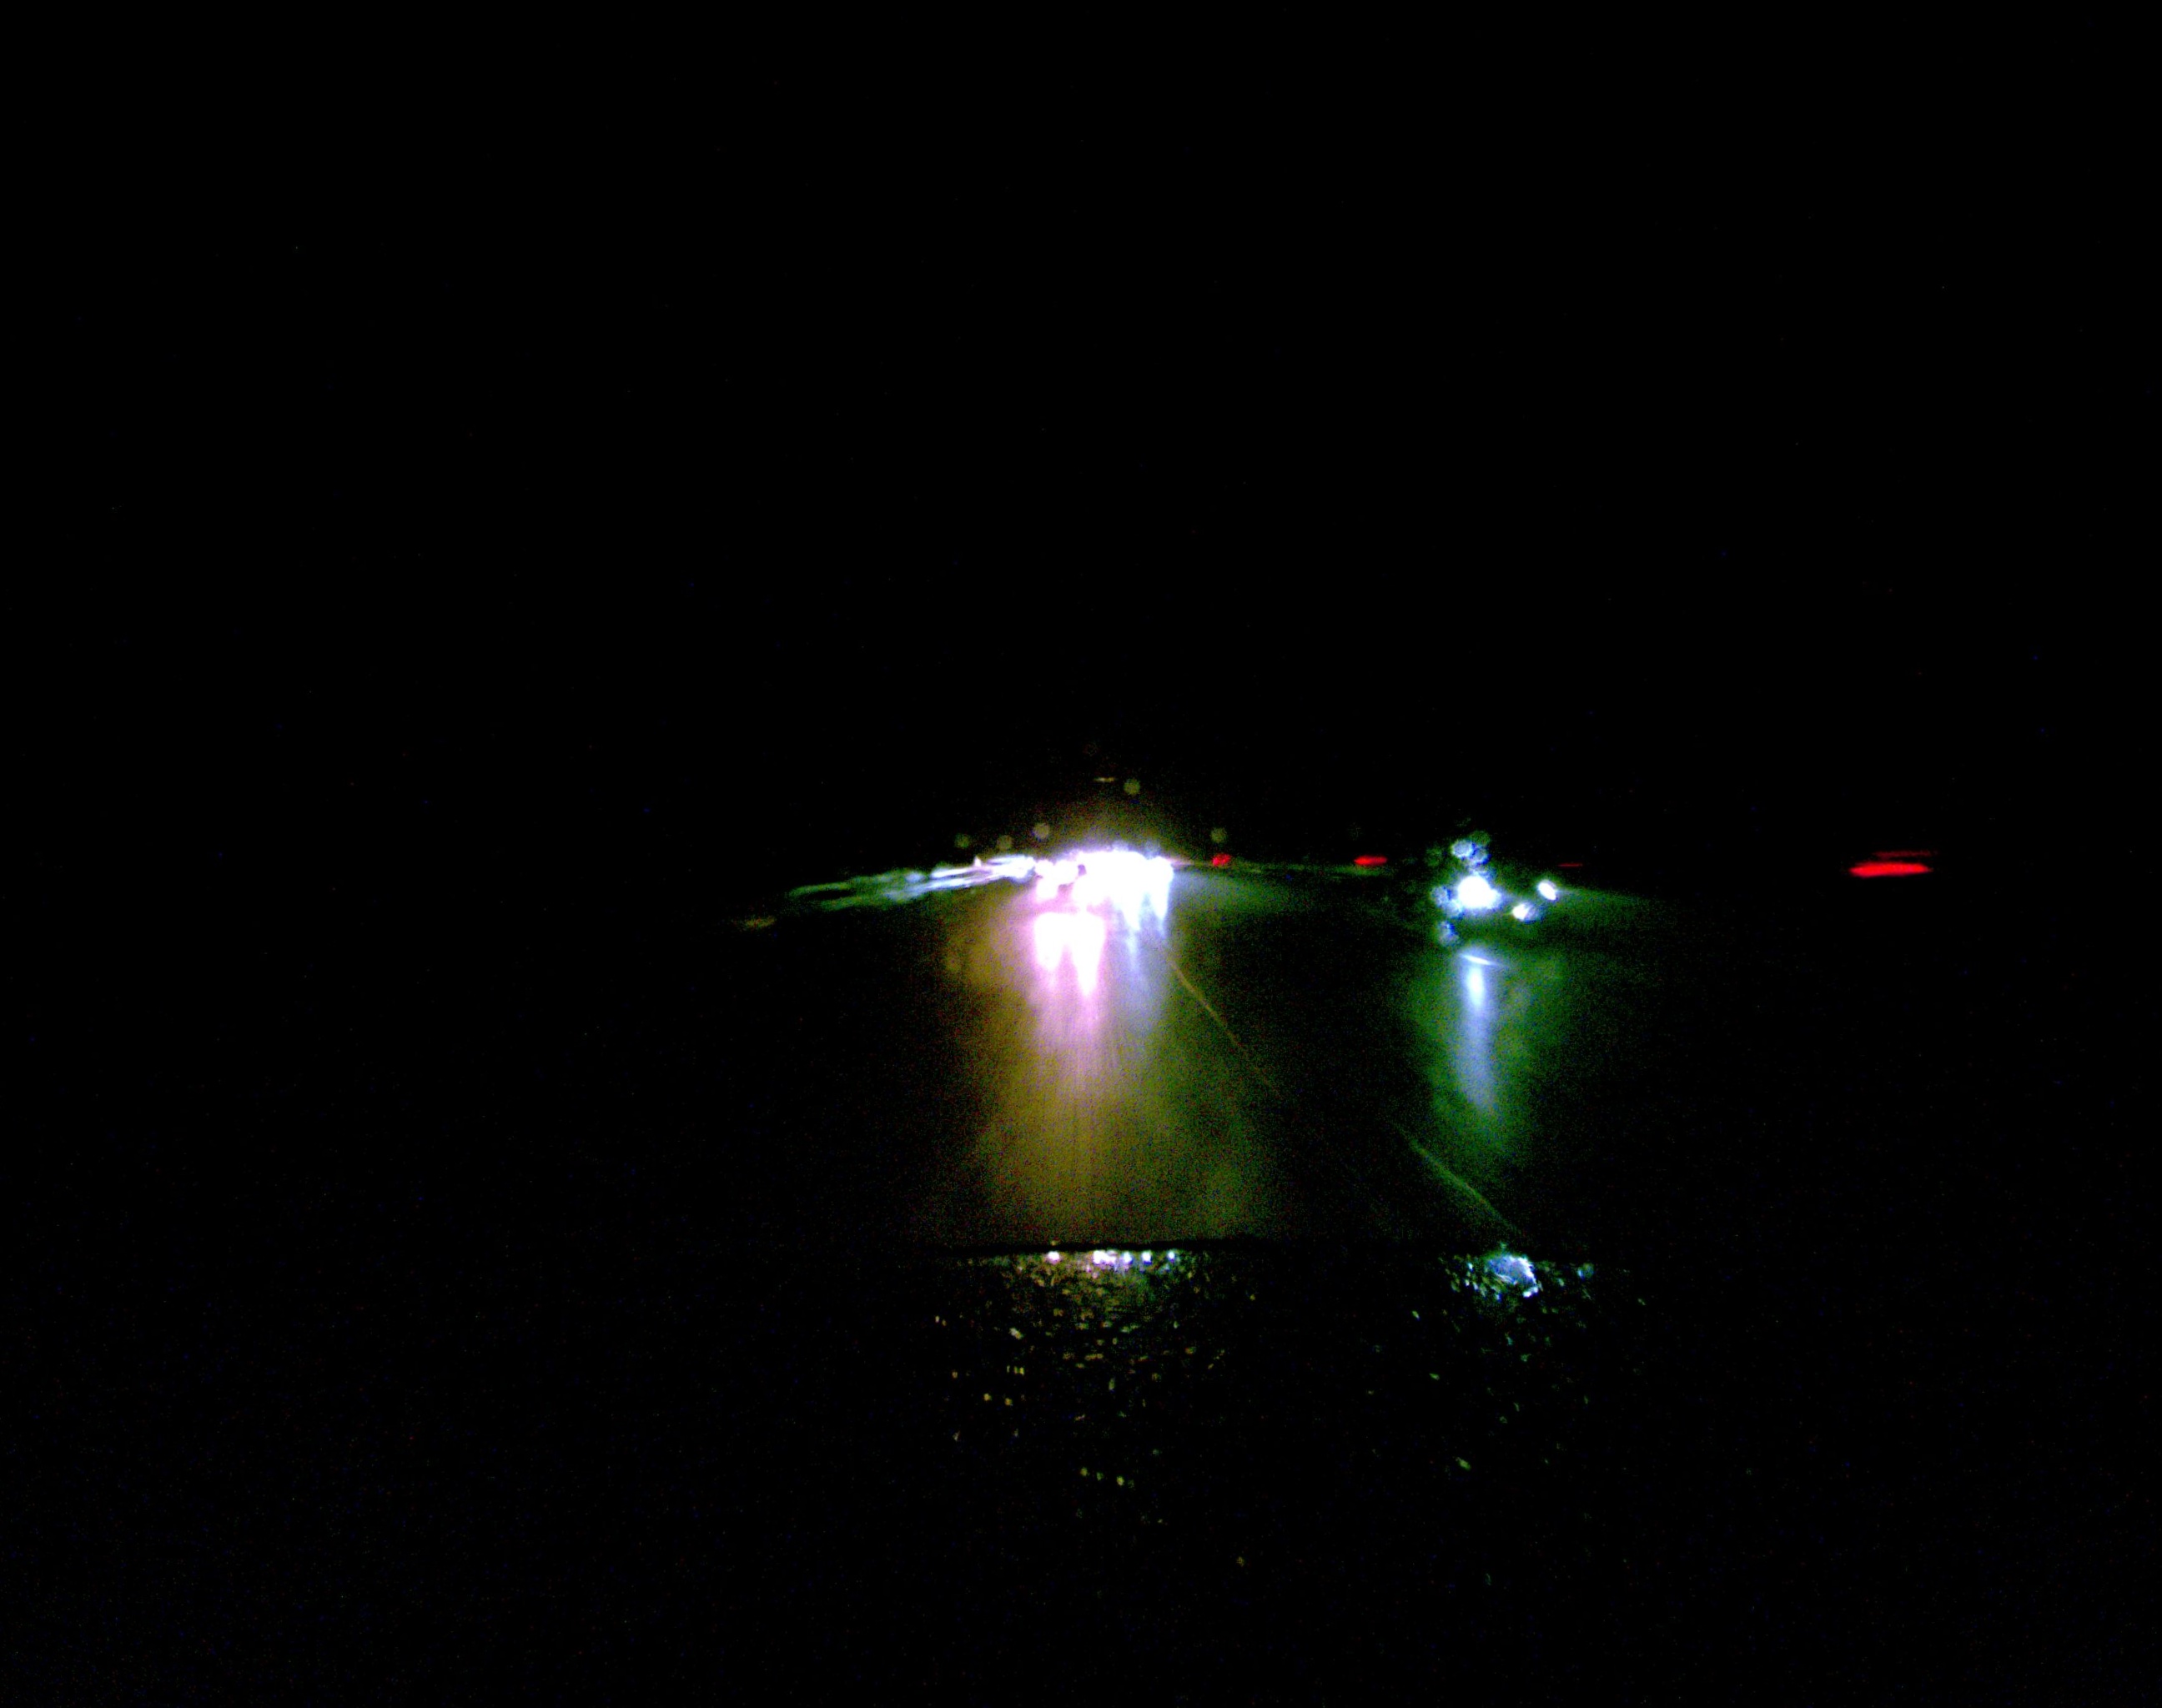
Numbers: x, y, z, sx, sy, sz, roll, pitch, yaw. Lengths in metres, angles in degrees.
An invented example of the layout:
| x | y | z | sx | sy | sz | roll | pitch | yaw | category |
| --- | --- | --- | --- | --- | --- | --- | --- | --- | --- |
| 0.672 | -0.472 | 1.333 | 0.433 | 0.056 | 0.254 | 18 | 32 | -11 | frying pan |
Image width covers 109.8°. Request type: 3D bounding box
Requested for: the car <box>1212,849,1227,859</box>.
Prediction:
| x | y | z | sx | sy | sz | roll | pitch | yaw | category |
| --- | --- | --- | --- | --- | --- | --- | --- | --- | --- |
| 24.301 | -0.088 | 133.523 | 1.617 | 1.663 | 4.658 | -2 | 0 | 0 | car |

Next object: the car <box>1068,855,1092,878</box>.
| x | y | z | sx | sy | sz | roll | pitch | yaw | category |
| --- | --- | --- | --- | --- | --- | --- | --- | --- | --- |
| -0.031 | 0.978 | 61.154 | 1.792 | 1.681 | 4.000 | -2 | 0 | 1 | car |

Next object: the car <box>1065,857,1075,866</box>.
| x | y | z | sx | sy | sz | roll | pitch | yaw | category |
| --- | --- | --- | --- | --- | --- | --- | --- | --- | --- |
| -2.093 | 1.353 | 144.453 | 1.755 | 1.563 | 4.000 | -2 | 0 | 1 | car |

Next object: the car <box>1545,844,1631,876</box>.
| x | y | z | sx | sy | sz | roll | pitch | yaw | category |
| --- | --- | --- | --- | --- | --- | --- | --- | --- | --- |
| 28.769 | 0.327 | 43.304 | 1.998 | 1.663 | 4.346 | -2 | 0 | 0 | car |

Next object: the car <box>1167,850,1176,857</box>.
| x | y | z | sx | sy | sz | roll | pitch | yaw | category |
| --- | --- | --- | --- | --- | --- | --- | --- | --- | --- |
| 24.321 | -0.124 | 204.803 | 1.998 | 1.663 | 4.346 | -2 | 0 | 0 | car |

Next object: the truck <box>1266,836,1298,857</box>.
| x | y | z | sx | sy | sz | roll | pitch | yaw | category |
| --- | --- | --- | --- | --- | --- | --- | --- | --- | --- |
| 28.329 | -1.078 | 107.548 | 2.907 | 2.830 | 7.745 | -2 | 0 | 4 | truck |

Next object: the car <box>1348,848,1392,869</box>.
| x | y | z | sx | sy | sz | roll | pitch | yaw | category |
| --- | --- | --- | --- | --- | --- | --- | --- | --- | --- |
| 24.437 | 0.361 | 64.340 | 1.998 | 1.663 | 4.346 | -2 | 0 | 0 | car |

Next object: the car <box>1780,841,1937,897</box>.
| x | y | z | sx | sy | sz | roll | pitch | yaw | category |
| --- | --- | --- | --- | --- | --- | --- | --- | --- | --- |
| 27.630 | 0.475 | 27.202 | 1.635 | 1.794 | 3.911 | -2 | 0 | 2 | car |

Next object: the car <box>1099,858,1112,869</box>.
| x | y | z | sx | sy | sz | roll | pitch | yaw | category |
| --- | --- | --- | --- | --- | --- | --- | --- | --- | --- |
| 3.637 | 1.415 | 113.922 | 1.755 | 1.563 | 4.000 | -2 | 0 | 1 | car |

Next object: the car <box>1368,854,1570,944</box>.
| x | y | z | sx | sy | sz | roll | pitch | yaw | category |
| --- | --- | --- | --- | --- | --- | --- | --- | --- | --- |
| 7.121 | 0.739 | 14.502 | 1.661 | 1.422 | 4.246 | -2 | 0 | 0 | car |

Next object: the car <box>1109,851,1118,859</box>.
| x | y | z | sx | sy | sz | roll | pitch | yaw | category |
| --- | --- | --- | --- | --- | --- | --- | --- | --- | --- |
| 7.268 | 0.133 | 171.738 | 1.800 | 1.728 | 4.000 | -2 | 0 | 1 | car |

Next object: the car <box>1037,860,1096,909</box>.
| x | y | z | sx | sy | sz | roll | pitch | yaw | category |
| --- | --- | --- | --- | --- | --- | --- | --- | --- | --- |
| -0.396 | 0.956 | 25.527 | 1.774 | 1.449 | 4.195 | -2 | 0 | 1 | car |

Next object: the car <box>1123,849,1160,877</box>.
| x | y | z | sx | sy | sz | roll | pitch | yaw | category |
| --- | --- | --- | --- | --- | --- | --- | --- | --- | --- |
| 3.841 | 0.551 | 48.600 | 1.960 | 1.655 | 4.916 | -2 | 0 | 1 | car |

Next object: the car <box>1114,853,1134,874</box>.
| x | y | z | sx | sy | sz | roll | pitch | yaw | category |
| --- | --- | --- | --- | --- | --- | --- | --- | --- | --- |
| 3.909 | 0.843 | 69.527 | 1.611 | 1.775 | 3.910 | -2 | 0 | 1 | car |
